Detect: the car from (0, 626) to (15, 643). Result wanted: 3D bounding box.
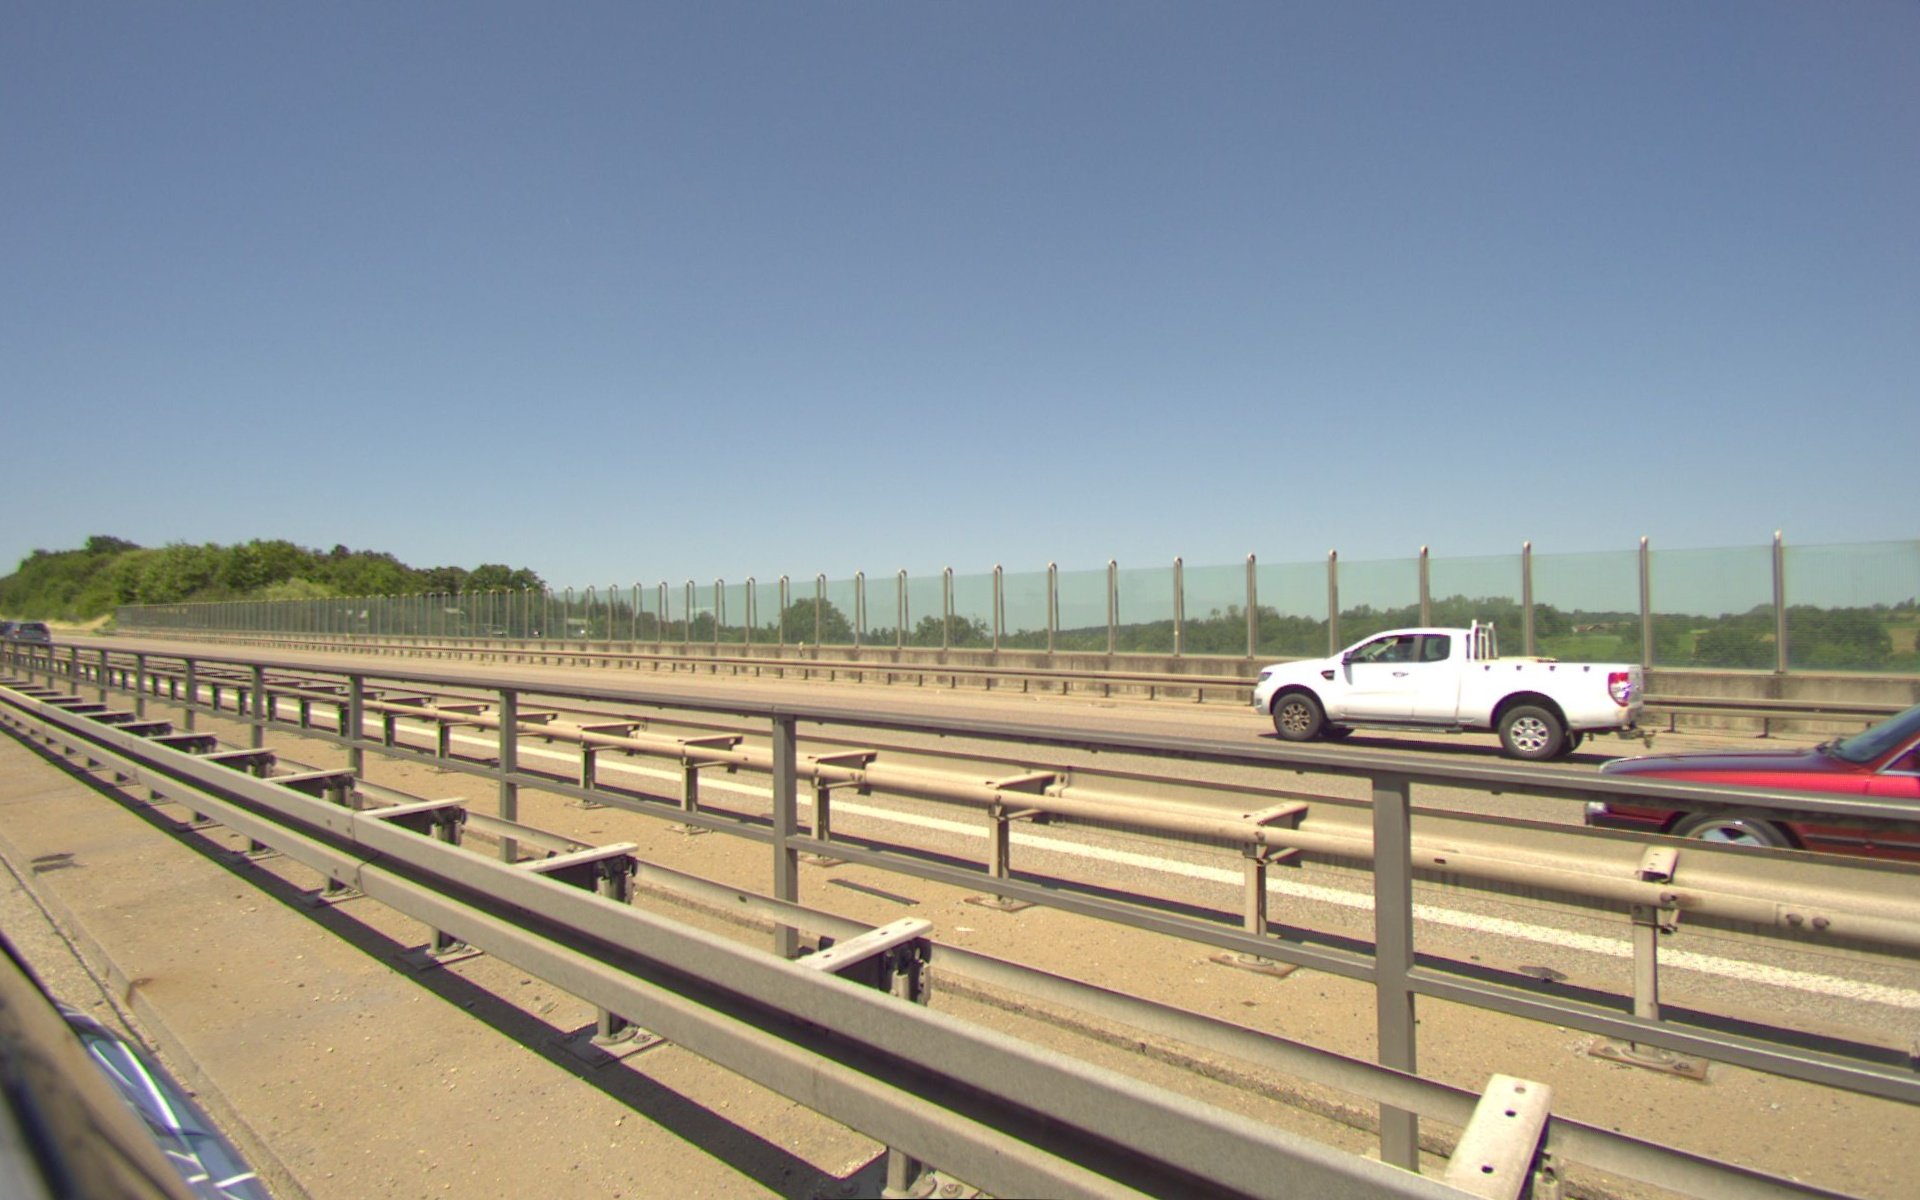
[{"bbox_3d":[-96.906,3.433,101.949,4.183,1.685,1.973,-1,-4,40],"label":"car"}]

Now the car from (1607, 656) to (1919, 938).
[{"bbox_3d":[5.798,0.969,4.871,4.339,1.328,1.581,-2,-4,41],"label":"car"}]

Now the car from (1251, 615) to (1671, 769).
[{"bbox_3d":[7.224,1.209,15.001,5.252,1.899,1.973,-2,-2,41],"label":"car"}]

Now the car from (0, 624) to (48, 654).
[{"bbox_3d":[-55.433,2.255,59.756,4.475,1.639,1.787,-1,0,41],"label":"car"}]
